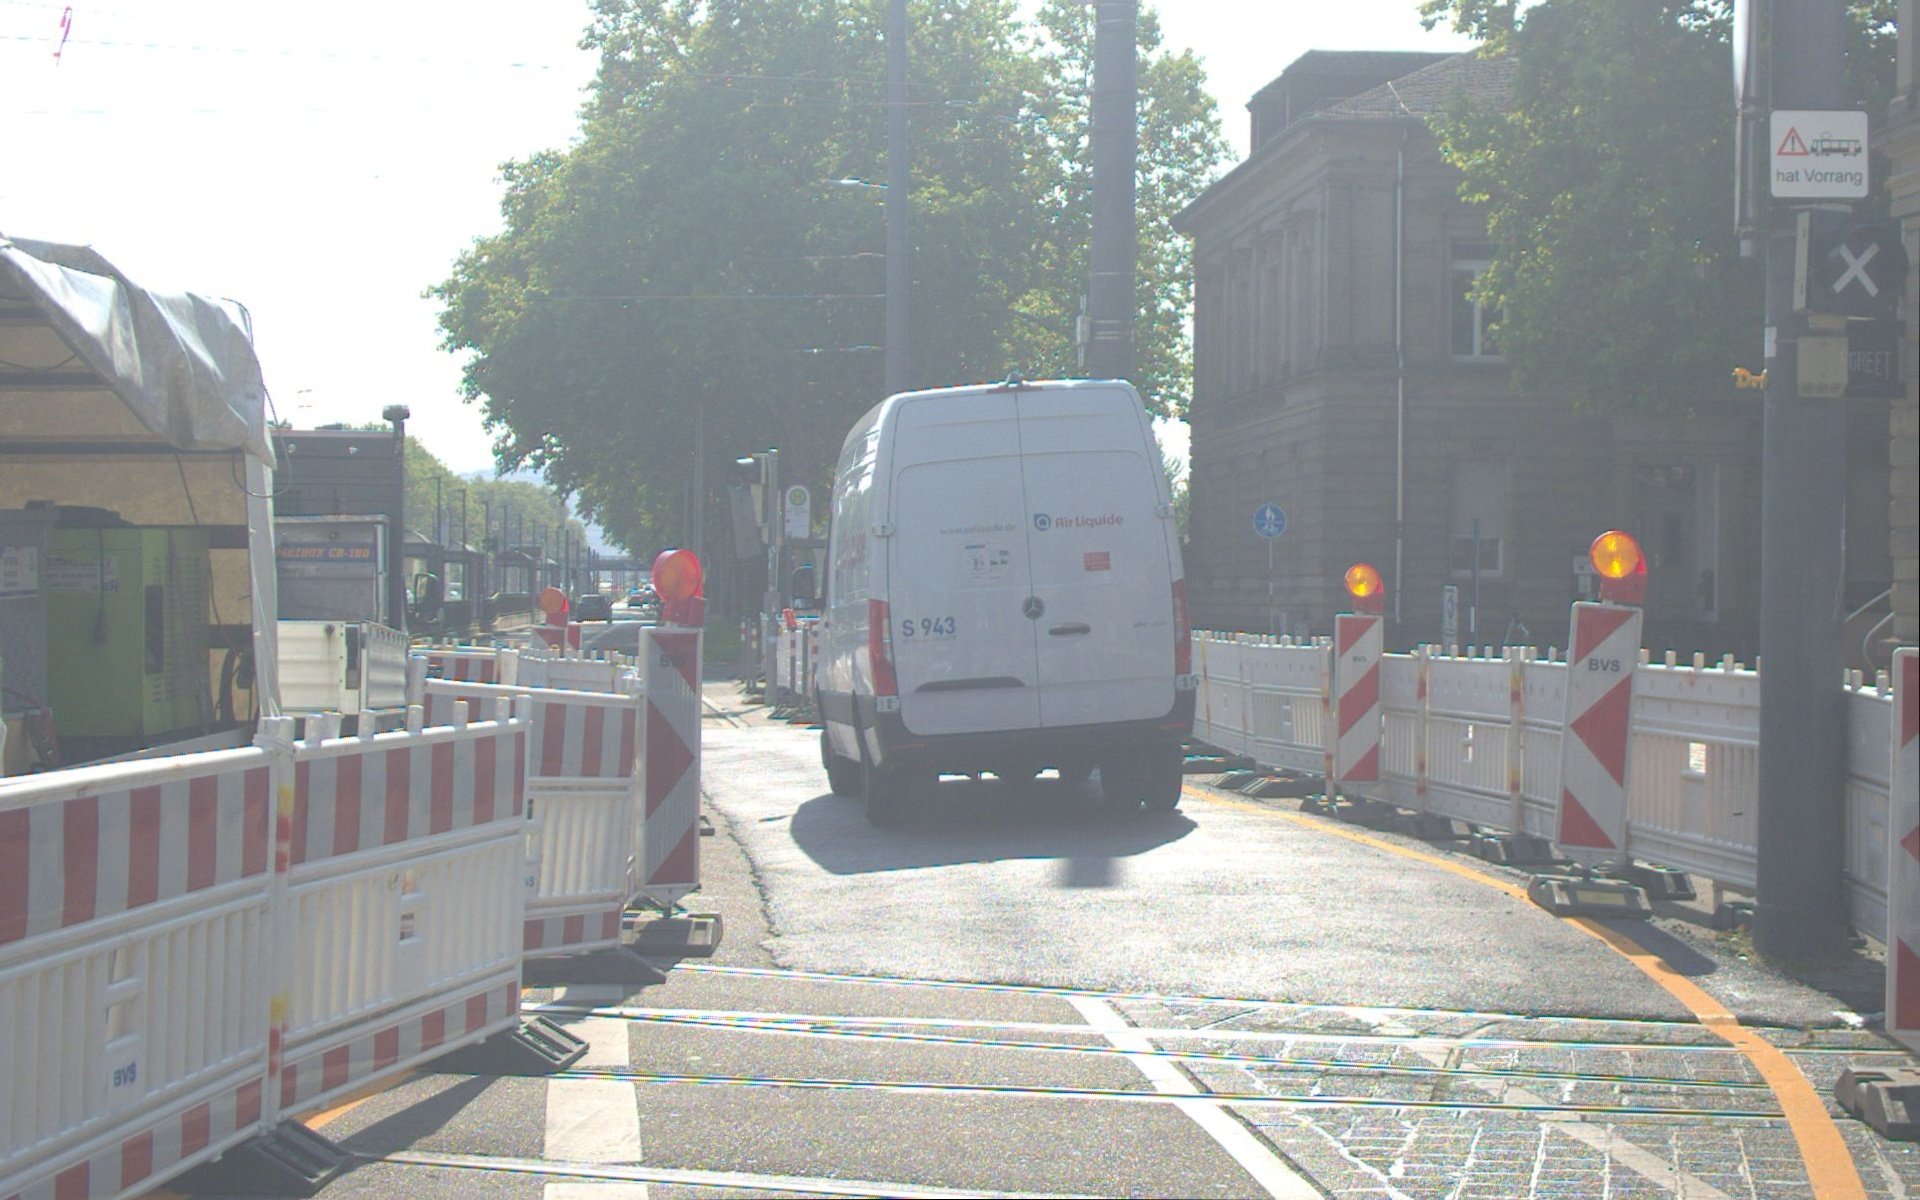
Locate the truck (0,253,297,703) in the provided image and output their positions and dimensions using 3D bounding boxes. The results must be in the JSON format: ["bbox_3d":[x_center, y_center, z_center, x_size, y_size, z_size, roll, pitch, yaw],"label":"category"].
[{"bbox_3d":[-8.605,-1.125,34.569,2.791,3.899,8.421,2,0,-17],"label":"truck"}]

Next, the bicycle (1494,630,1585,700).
[{"bbox_3d":[9.275,1.034,55.039,0.491,0.996,1.818,0,2,-24],"label":"bicycle"}]

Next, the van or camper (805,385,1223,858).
[{"bbox_3d":[0.200,0.089,22.500,2.115,2.673,5.251,-2,1,-5],"label":"van or camper"}]

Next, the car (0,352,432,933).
[{"bbox_3d":[-3.948,0.188,17.936,2.207,2.416,7.201,0,0,-8],"label":"car"}]
